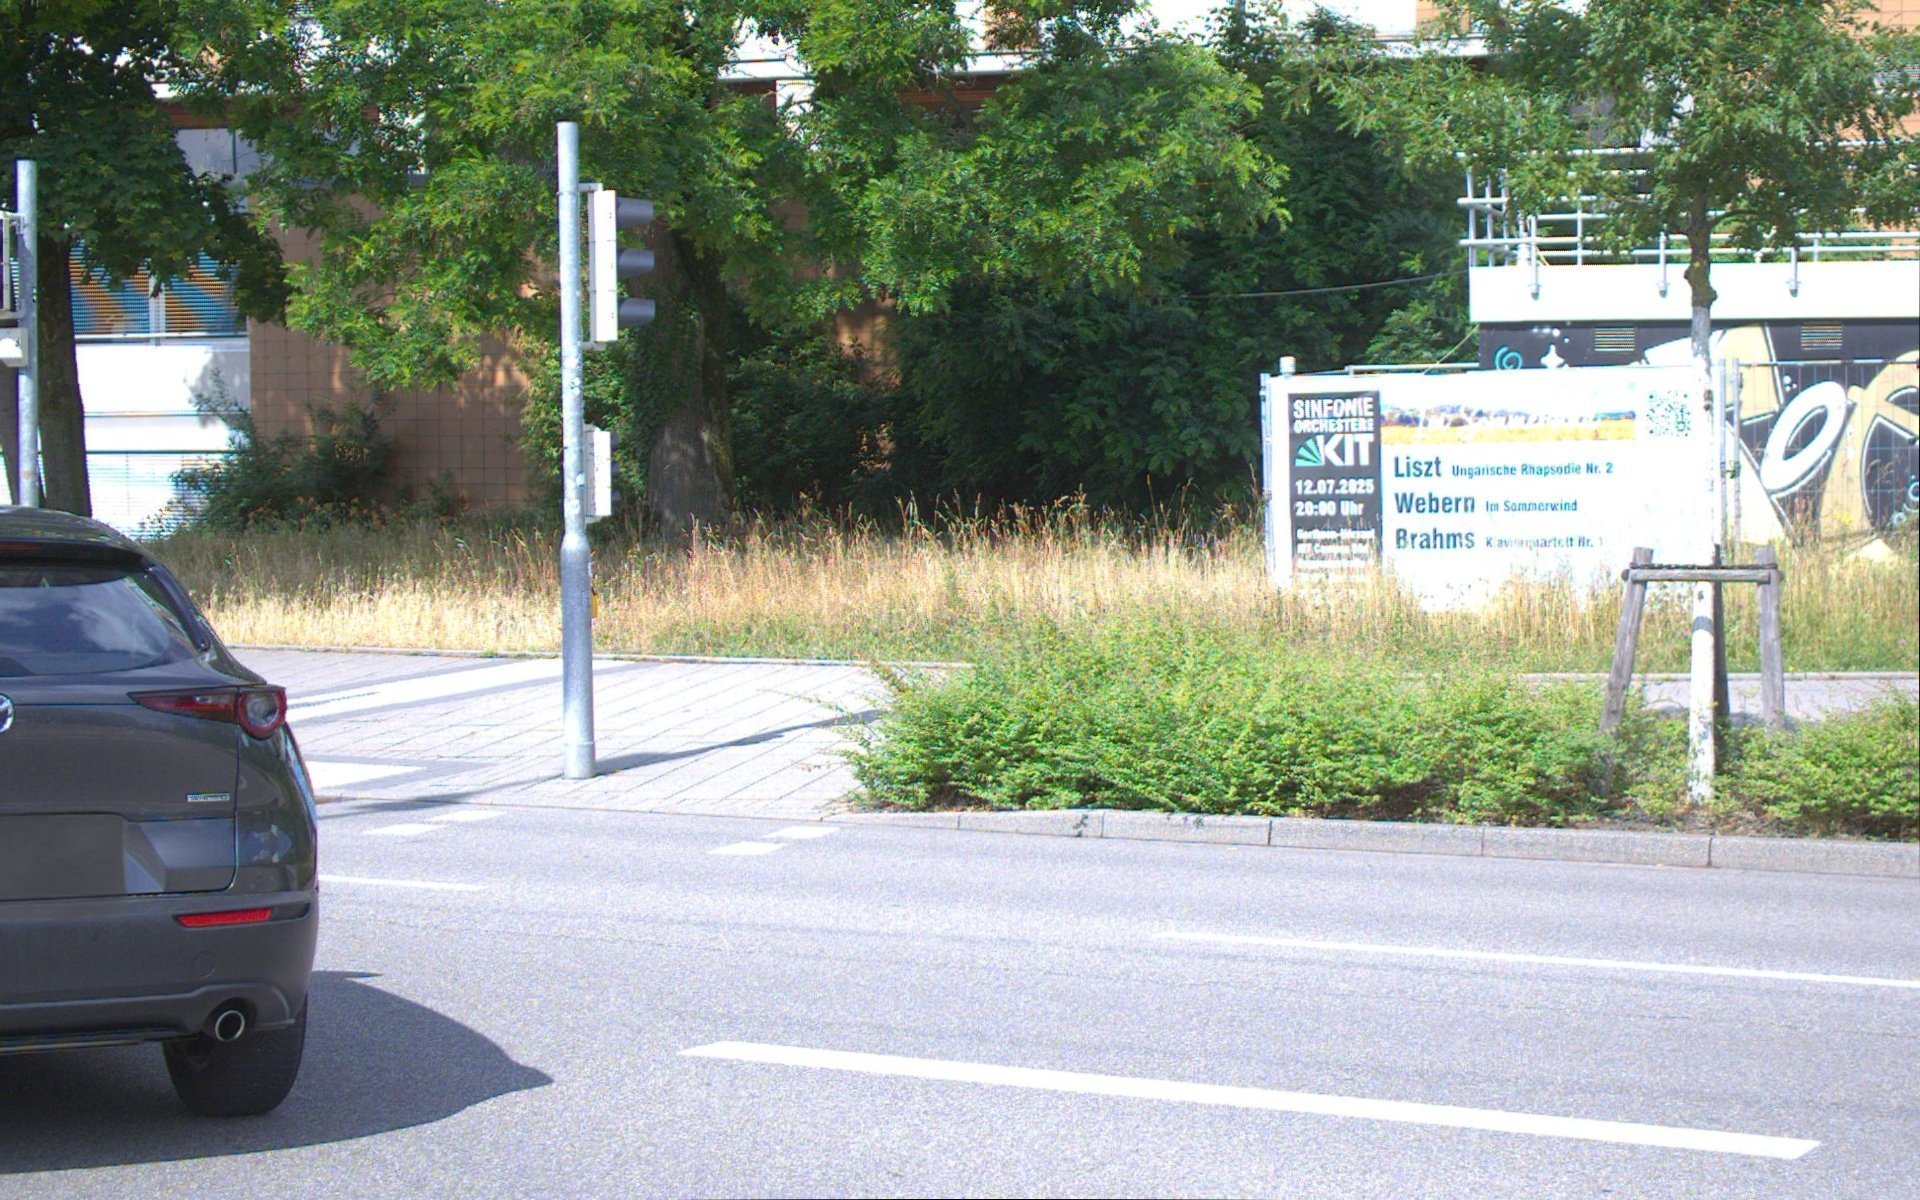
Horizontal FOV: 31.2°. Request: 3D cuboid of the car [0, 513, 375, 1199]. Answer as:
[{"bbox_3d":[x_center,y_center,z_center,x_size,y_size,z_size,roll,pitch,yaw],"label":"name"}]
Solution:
[{"bbox_3d":[-3.096,0.527,9.115,1.806,1.503,4.205,-1,2,-28],"label":"car"}]
